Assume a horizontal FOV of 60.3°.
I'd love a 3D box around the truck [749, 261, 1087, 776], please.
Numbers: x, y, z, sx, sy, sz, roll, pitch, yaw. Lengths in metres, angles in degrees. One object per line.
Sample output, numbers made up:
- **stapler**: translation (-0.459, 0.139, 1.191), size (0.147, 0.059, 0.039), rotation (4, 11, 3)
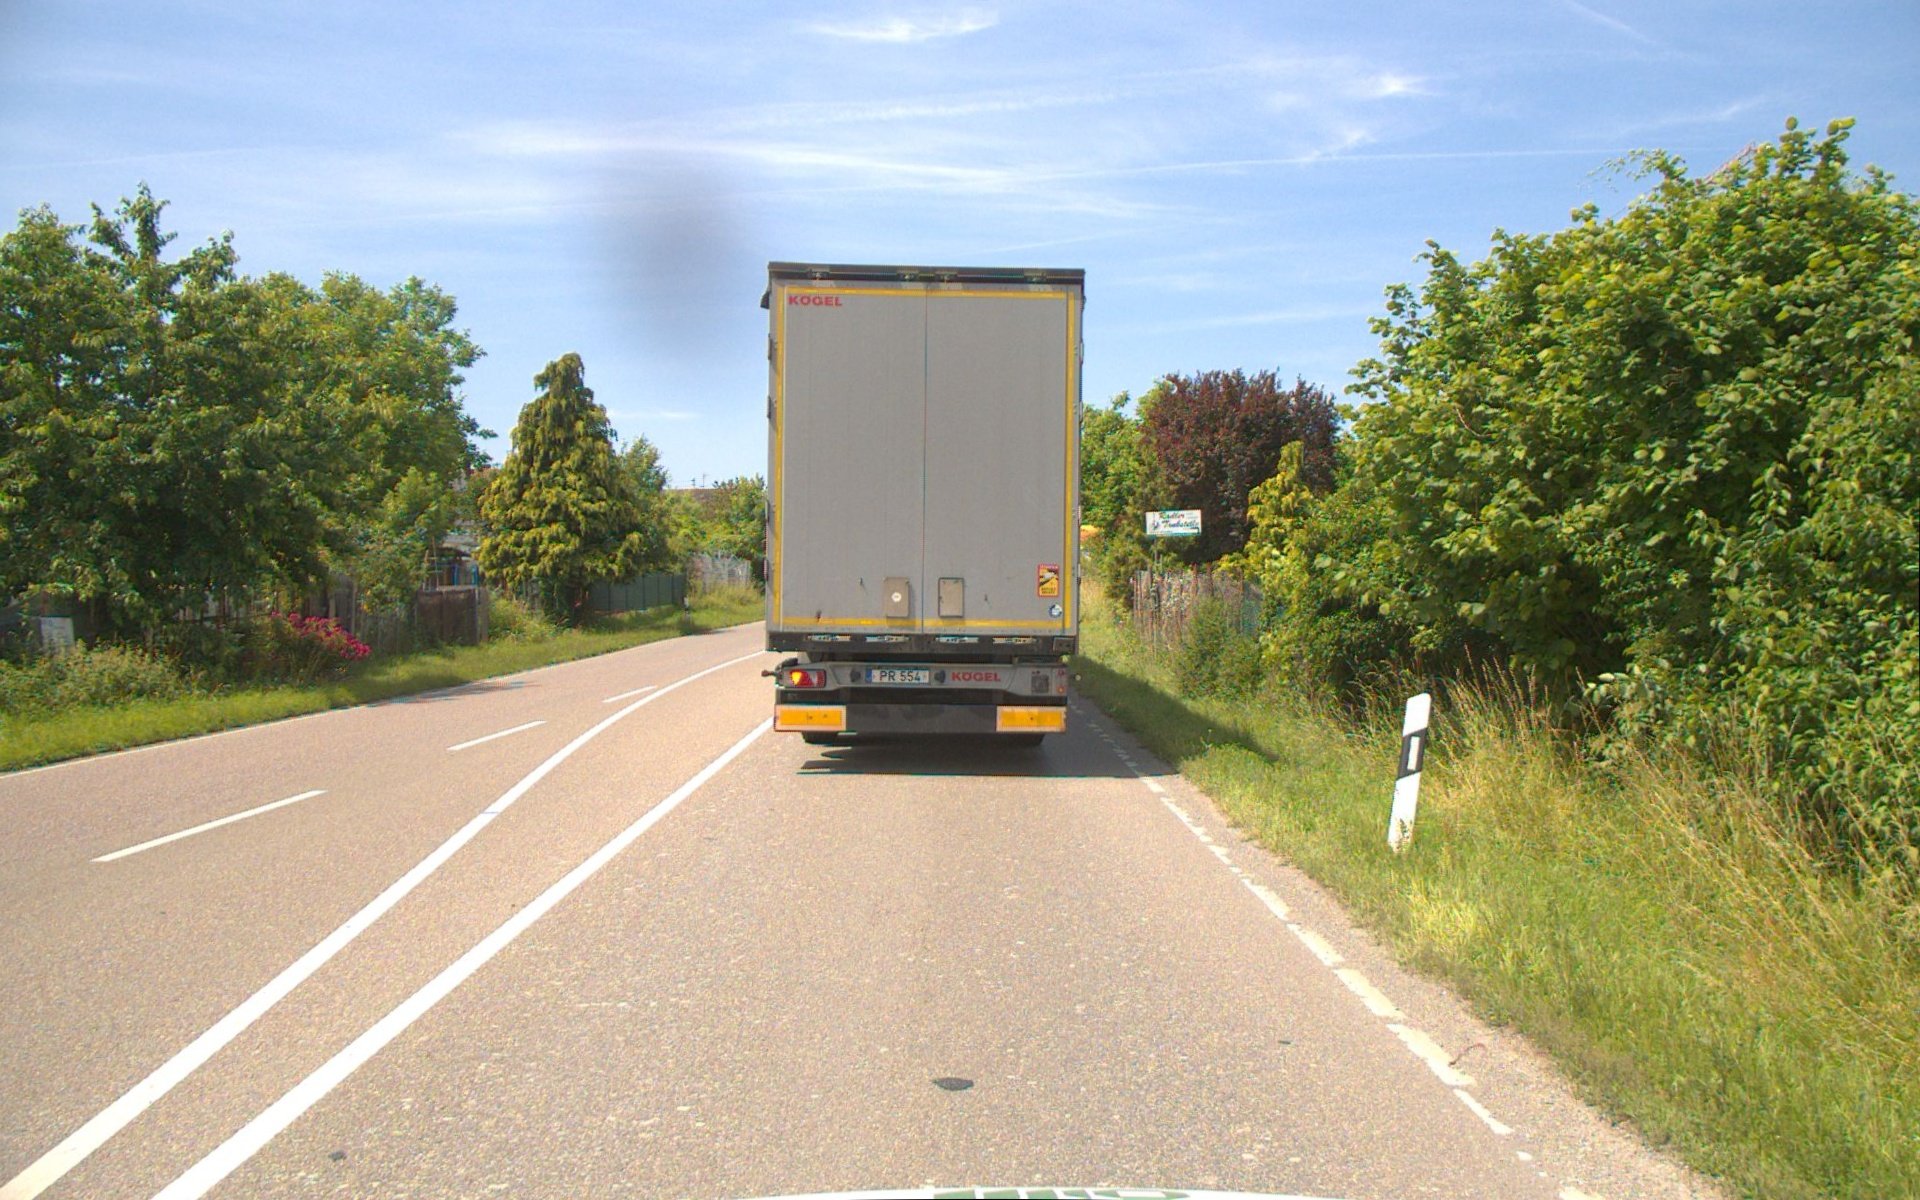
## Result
- **truck**: translation (-0.473, -0.682, 17.310), size (2.594, 3.985, 8.822), rotation (1, 1, -2)
